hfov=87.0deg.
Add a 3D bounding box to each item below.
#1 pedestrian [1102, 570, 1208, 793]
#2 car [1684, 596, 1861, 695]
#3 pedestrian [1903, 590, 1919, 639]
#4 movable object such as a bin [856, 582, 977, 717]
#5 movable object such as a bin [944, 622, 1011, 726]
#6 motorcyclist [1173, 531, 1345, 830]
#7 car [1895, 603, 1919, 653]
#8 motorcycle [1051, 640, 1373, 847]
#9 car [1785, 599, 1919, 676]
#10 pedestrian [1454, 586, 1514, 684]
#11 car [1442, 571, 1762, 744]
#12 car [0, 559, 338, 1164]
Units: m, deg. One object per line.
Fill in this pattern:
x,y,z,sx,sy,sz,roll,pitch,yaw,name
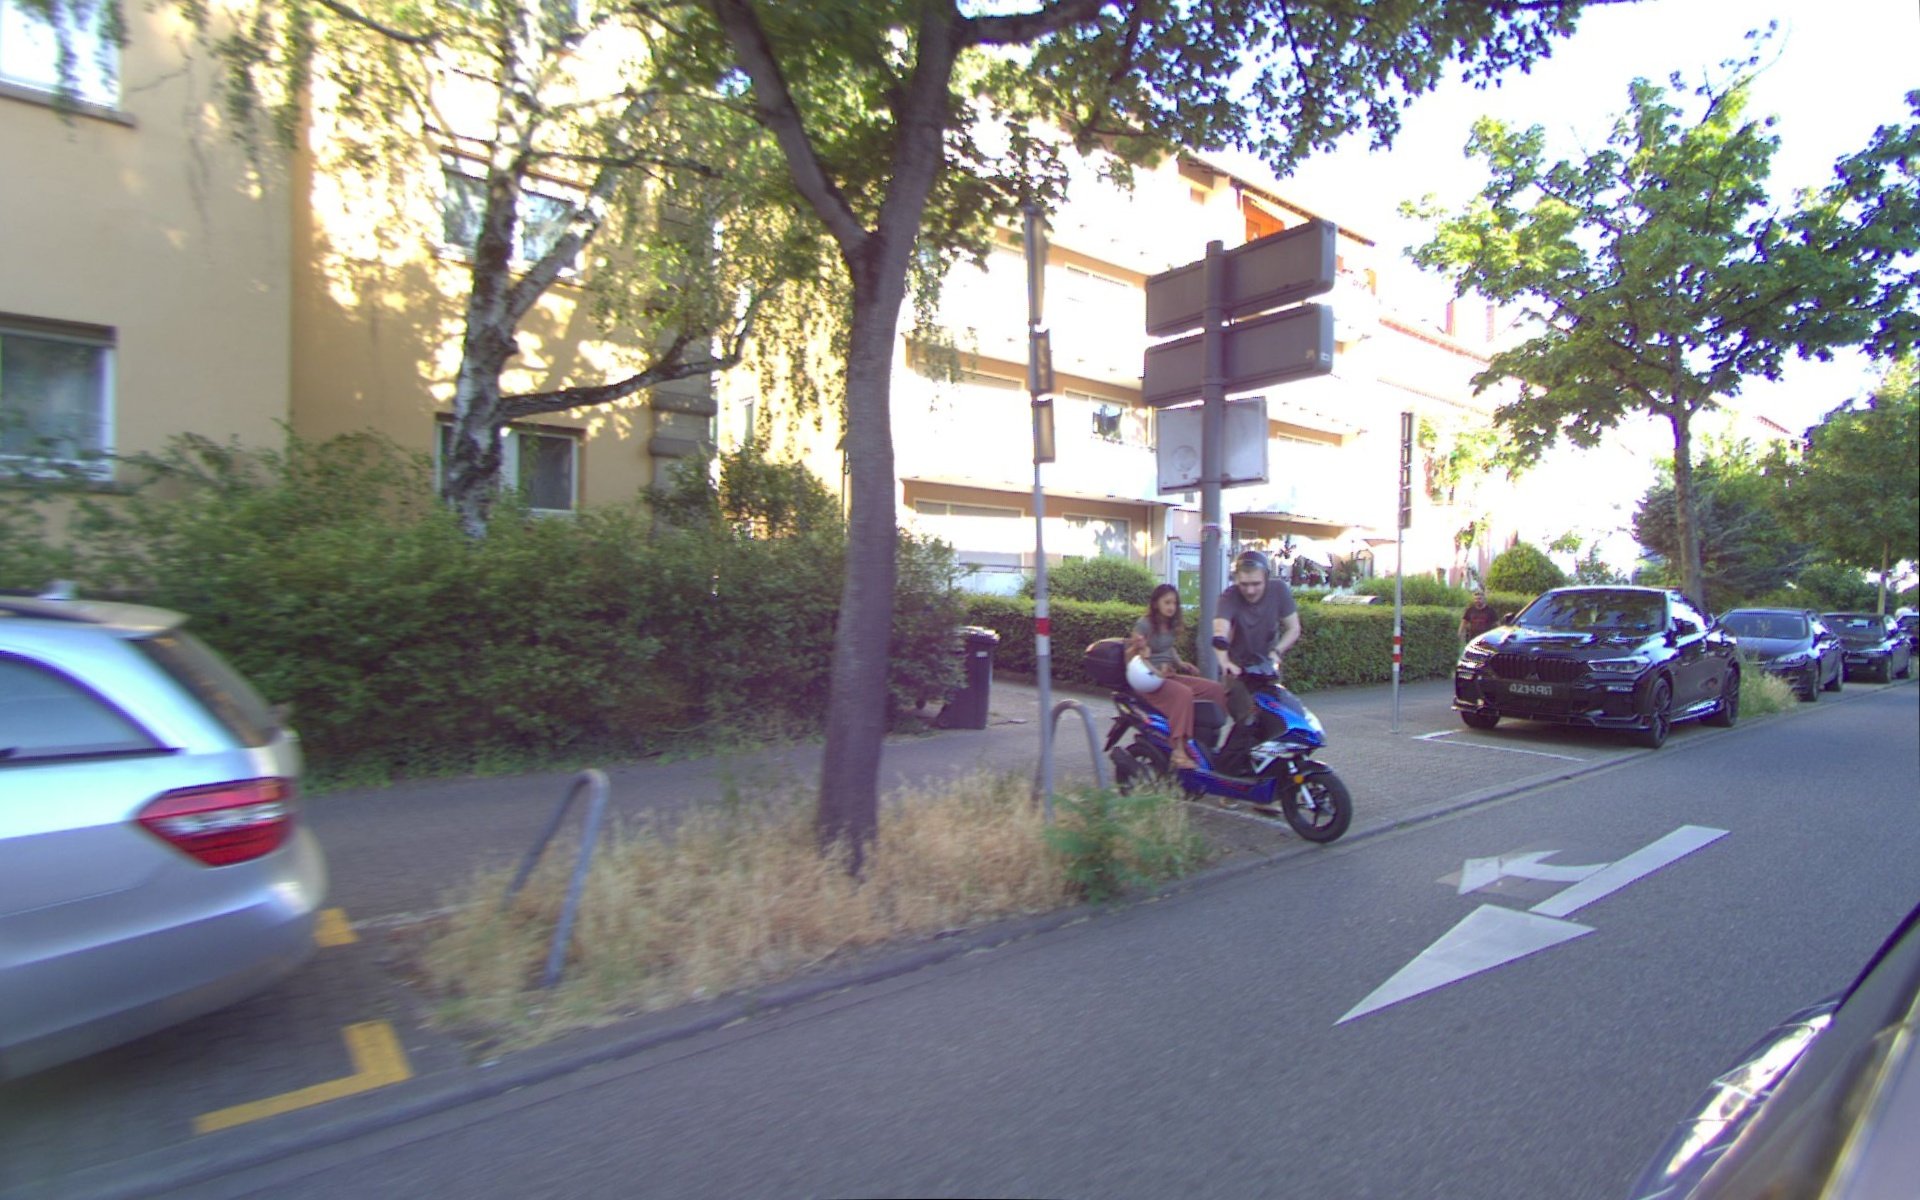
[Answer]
1.355,0.529,6.993,0.437,1.448,0.694,0,0,39,pedestrian
14.388,0.724,17.838,4.355,1.490,1.719,1,1,-42,car
36.301,0.544,38.329,0.751,1.806,0.669,-2,-1,-40,pedestrian
-0.525,0.532,11.696,0.974,1.460,1.259,1,0,-25,movable object such as a bin
0.188,0.782,10.950,0.536,1.072,0.496,1,0,-27,movable object such as a bin
2.005,0.479,6.733,0.735,1.800,1.073,0,0,39,motorcyclist
29.571,0.830,30.307,4.256,1.419,1.766,0,1,-40,car
1.630,0.860,6.736,1.922,1.084,0.808,1,0,40,motorcycle
19.610,0.749,22.006,4.404,1.467,1.774,1,1,-40,car
9.013,0.582,17.415,0.569,1.636,0.747,1,0,-41,pedestrian
7.813,0.552,12.114,4.711,1.676,1.951,0,0,-41,car
-4.303,0.634,2.299,4.746,1.531,1.861,0,2,-38,car
